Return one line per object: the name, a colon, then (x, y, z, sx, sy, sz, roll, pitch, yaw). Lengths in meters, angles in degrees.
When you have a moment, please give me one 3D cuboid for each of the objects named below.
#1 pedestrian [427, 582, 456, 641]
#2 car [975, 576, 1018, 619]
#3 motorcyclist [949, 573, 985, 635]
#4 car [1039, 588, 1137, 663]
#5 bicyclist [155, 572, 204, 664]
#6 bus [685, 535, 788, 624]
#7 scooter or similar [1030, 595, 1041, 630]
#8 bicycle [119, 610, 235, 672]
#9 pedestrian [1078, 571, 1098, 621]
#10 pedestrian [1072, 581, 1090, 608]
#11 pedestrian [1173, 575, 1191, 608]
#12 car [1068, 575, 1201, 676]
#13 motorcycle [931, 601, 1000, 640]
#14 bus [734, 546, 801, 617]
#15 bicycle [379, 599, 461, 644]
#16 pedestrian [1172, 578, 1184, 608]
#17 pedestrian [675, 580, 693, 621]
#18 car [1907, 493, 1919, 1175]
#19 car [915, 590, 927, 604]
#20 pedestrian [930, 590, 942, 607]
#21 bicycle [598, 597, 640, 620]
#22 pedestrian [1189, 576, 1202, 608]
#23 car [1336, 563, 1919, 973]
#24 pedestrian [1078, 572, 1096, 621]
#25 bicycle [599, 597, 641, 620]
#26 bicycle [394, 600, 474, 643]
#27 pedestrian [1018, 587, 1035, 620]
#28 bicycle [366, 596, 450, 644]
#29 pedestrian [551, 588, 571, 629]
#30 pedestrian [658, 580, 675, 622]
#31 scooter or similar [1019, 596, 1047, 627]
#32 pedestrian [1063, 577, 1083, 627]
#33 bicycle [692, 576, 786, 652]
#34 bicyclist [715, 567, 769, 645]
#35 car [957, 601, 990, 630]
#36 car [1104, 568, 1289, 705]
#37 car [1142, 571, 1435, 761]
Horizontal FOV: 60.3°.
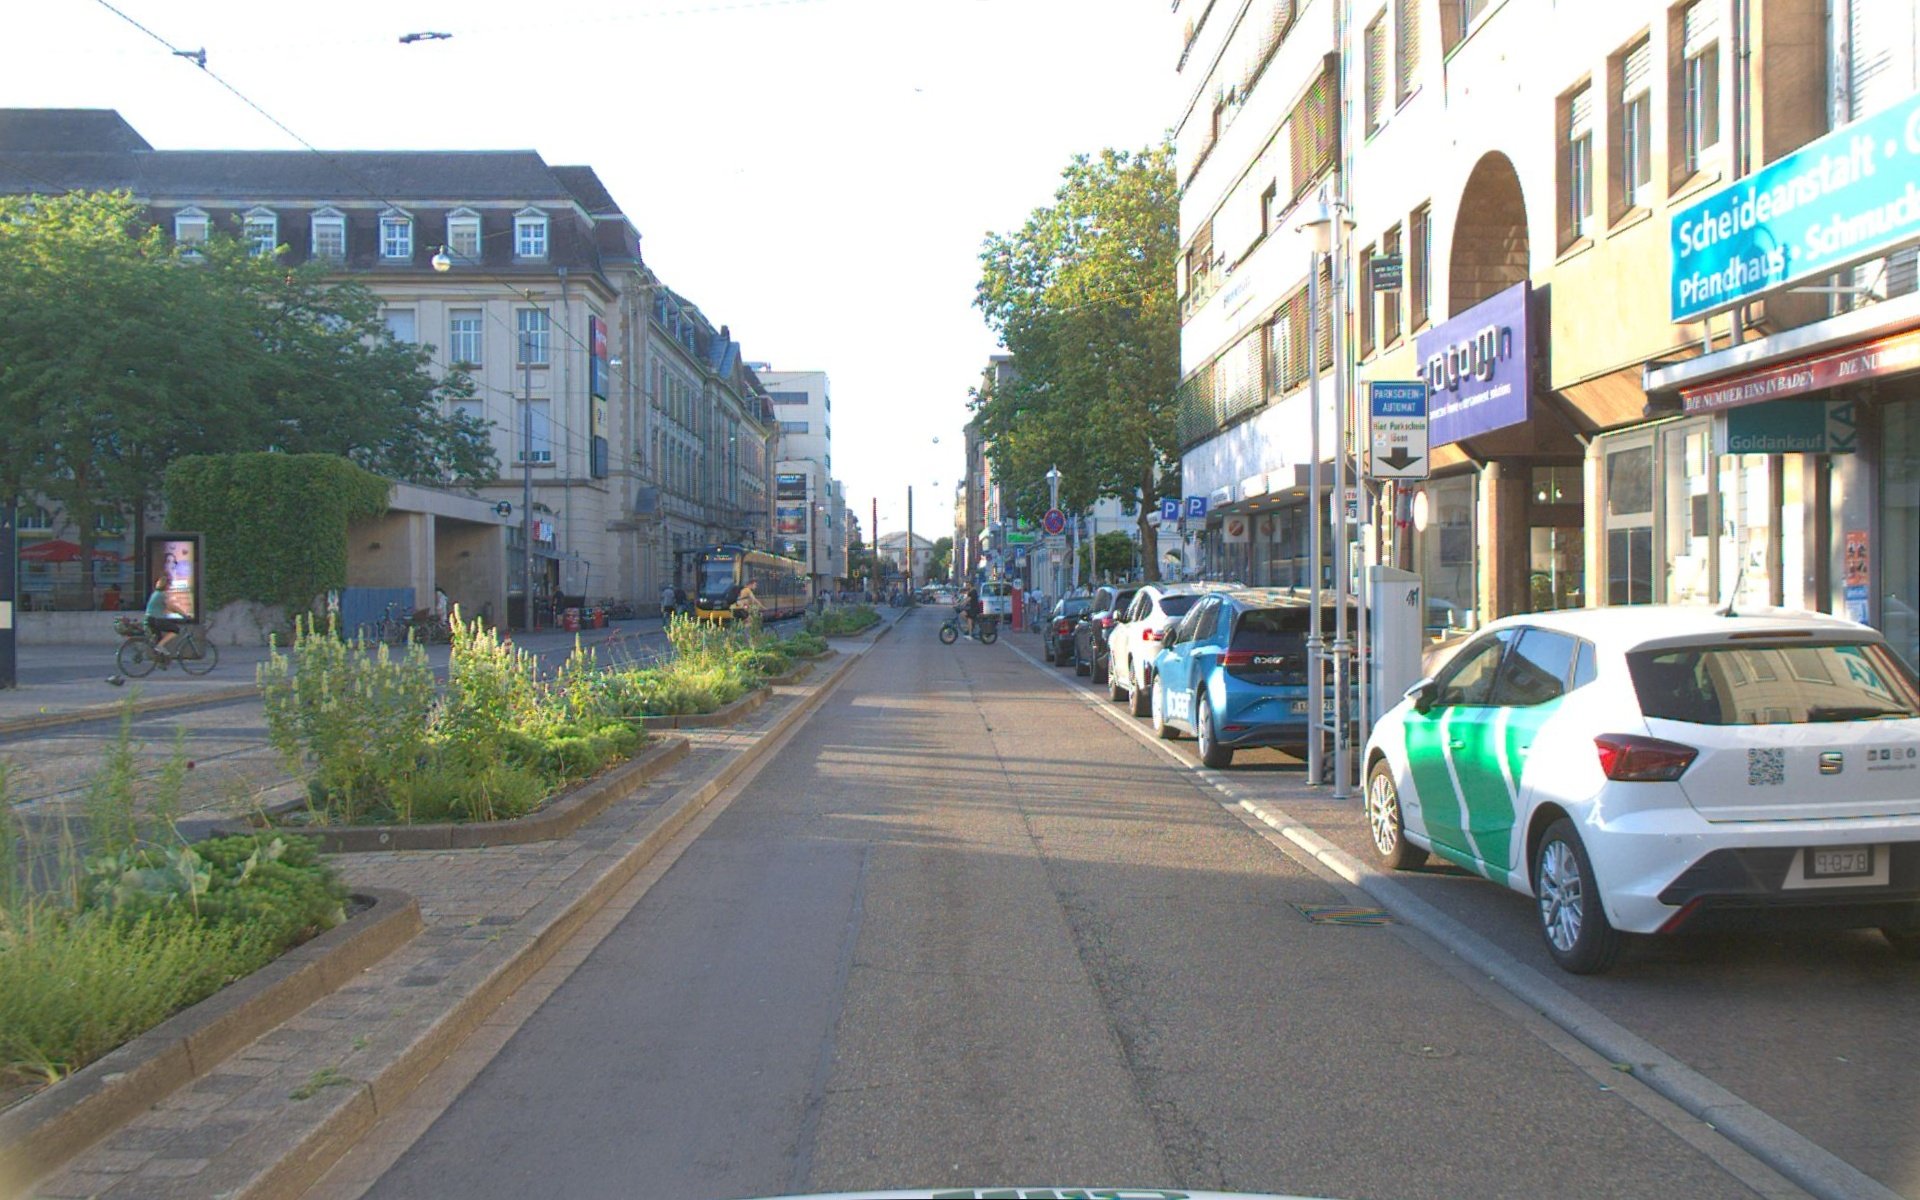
pedestrian: (-17.631, 0.392, 56.251, 0.709, 1.968, 0.793, -1, -2, 2)
car: (1.741, -0.102, 80.614, 1.876, 2.016, 4.420, -1, 0, -1)
motorcyclist: (0.193, 0.128, 49.477, 0.982, 1.845, 0.958, 0, -2, -5)
car: (2.711, 0.501, 35.752, 1.622, 1.404, 4.340, -4, 0, -1)
bicyclist: (-14.610, 0.346, 30.975, 0.698, 1.698, 0.619, 1, -2, -41)
bus: (-10.290, -0.929, 78.222, 2.765, 3.715, 17.069, -1, 0, -1)
scooter or similar: (2.748, 0.440, 60.190, 0.308, 1.243, 1.273, -1, 0, 6)
bicycle: (-14.632, 0.751, 30.947, 1.920, 1.131, 0.453, 0, -2, -42)
pedestrian: (4.581, -0.132, 59.094, 0.664, 1.747, 0.654, -1, -2, 1)
pedestrian: (6.226, -0.282, 85.059, 0.806, 1.329, 0.869, -1, -2, -2)
pedestrian: (8.960, -0.344, 66.663, 0.630, 1.307, 0.741, -1, -2, 15)
car: (2.999, 0.381, 29.232, 1.740, 1.565, 4.577, -1, 2, -2)
motorcycle: (0.171, 0.609, 49.455, 2.004, 1.143, 0.567, -1, -2, -6)
bus: (-10.491, -1.043, 90.921, 2.765, 3.688, 8.288, -1, 1, -1)
bicycle: (-15.754, 0.629, 48.301, 2.196, 1.277, 0.579, -1, -2, -1)
pedestrian: (9.283, -0.313, 70.429, 0.463, 1.263, 0.540, -1, -2, 13)
pedestrian: (-12.724, 0.030, 76.246, 0.718, 1.873, 0.714, -1, -1, -1)
car: (3.217, 0.568, 1.889, 1.729, 1.633, 4.286, 0, 0, -2)
car: (-5.466, -0.418, 232.050, 1.725, 1.859, 3.569, -1, -1, -1)
pedestrian: (-2.816, -0.158, 195.694, 1.210, 1.962, 1.017, 0, 0, -17)
bicycle: (-17.578, 0.447, 85.248, 2.056, 1.168, 0.574, -1, -2, -6)
pedestrian: (9.675, -0.338, 67.930, 0.464, 1.307, 0.540, -1, -2, 15)
car: (3.251, 0.635, 8.081, 1.696, 1.460, 4.150, -1, -1, -3)
pedestrian: (4.582, -0.106, 59.760, 0.601, 1.747, 0.662, -1, -2, 1)
bicycle: (-17.655, 0.462, 85.913, 2.037, 1.168, 0.574, -1, -2, -6)
bicycle: (-15.883, 0.654, 49.969, 2.196, 1.253, 0.585, -1, -1, -1)
pedestrian: (3.681, 0.201, 91.174, 0.772, 1.782, 0.893, 0, -2, -8)
bicycle: (-15.602, 0.573, 46.778, 2.152, 1.323, 0.579, -1, -2, -1)
pedestrian: (-16.665, 0.358, 69.062, 0.704, 1.674, 0.655, 1, 0, -23)
pedestrian: (-13.522, 0.046, 76.244, 0.679, 1.880, 0.661, -1, -2, -1)
scooter or similar: (2.977, 0.460, 67.509, 1.102, 1.237, 0.300, -2, -1, 0)
pedestrian: (4.211, 0.066, 61.627, 0.699, 1.835, 0.824, -1, -1, 2)
bicycle: (-5.221, 0.312, 39.223, 0.593, 1.770, 2.351, 0, 0, 45)
bicyclist: (-5.164, 0.135, 39.185, 0.922, 1.807, 0.958, -1, 0, -36)
car: (0.811, 0.999, 105.447, 1.953, 1.791, 4.420, -1, 0, -1)
car: (3.005, 0.419, 21.946, 1.779, 1.613, 4.723, 0, 0, 0)
car: (3.020, 0.538, 16.283, 1.773, 1.579, 4.834, 0, 0, -2)
